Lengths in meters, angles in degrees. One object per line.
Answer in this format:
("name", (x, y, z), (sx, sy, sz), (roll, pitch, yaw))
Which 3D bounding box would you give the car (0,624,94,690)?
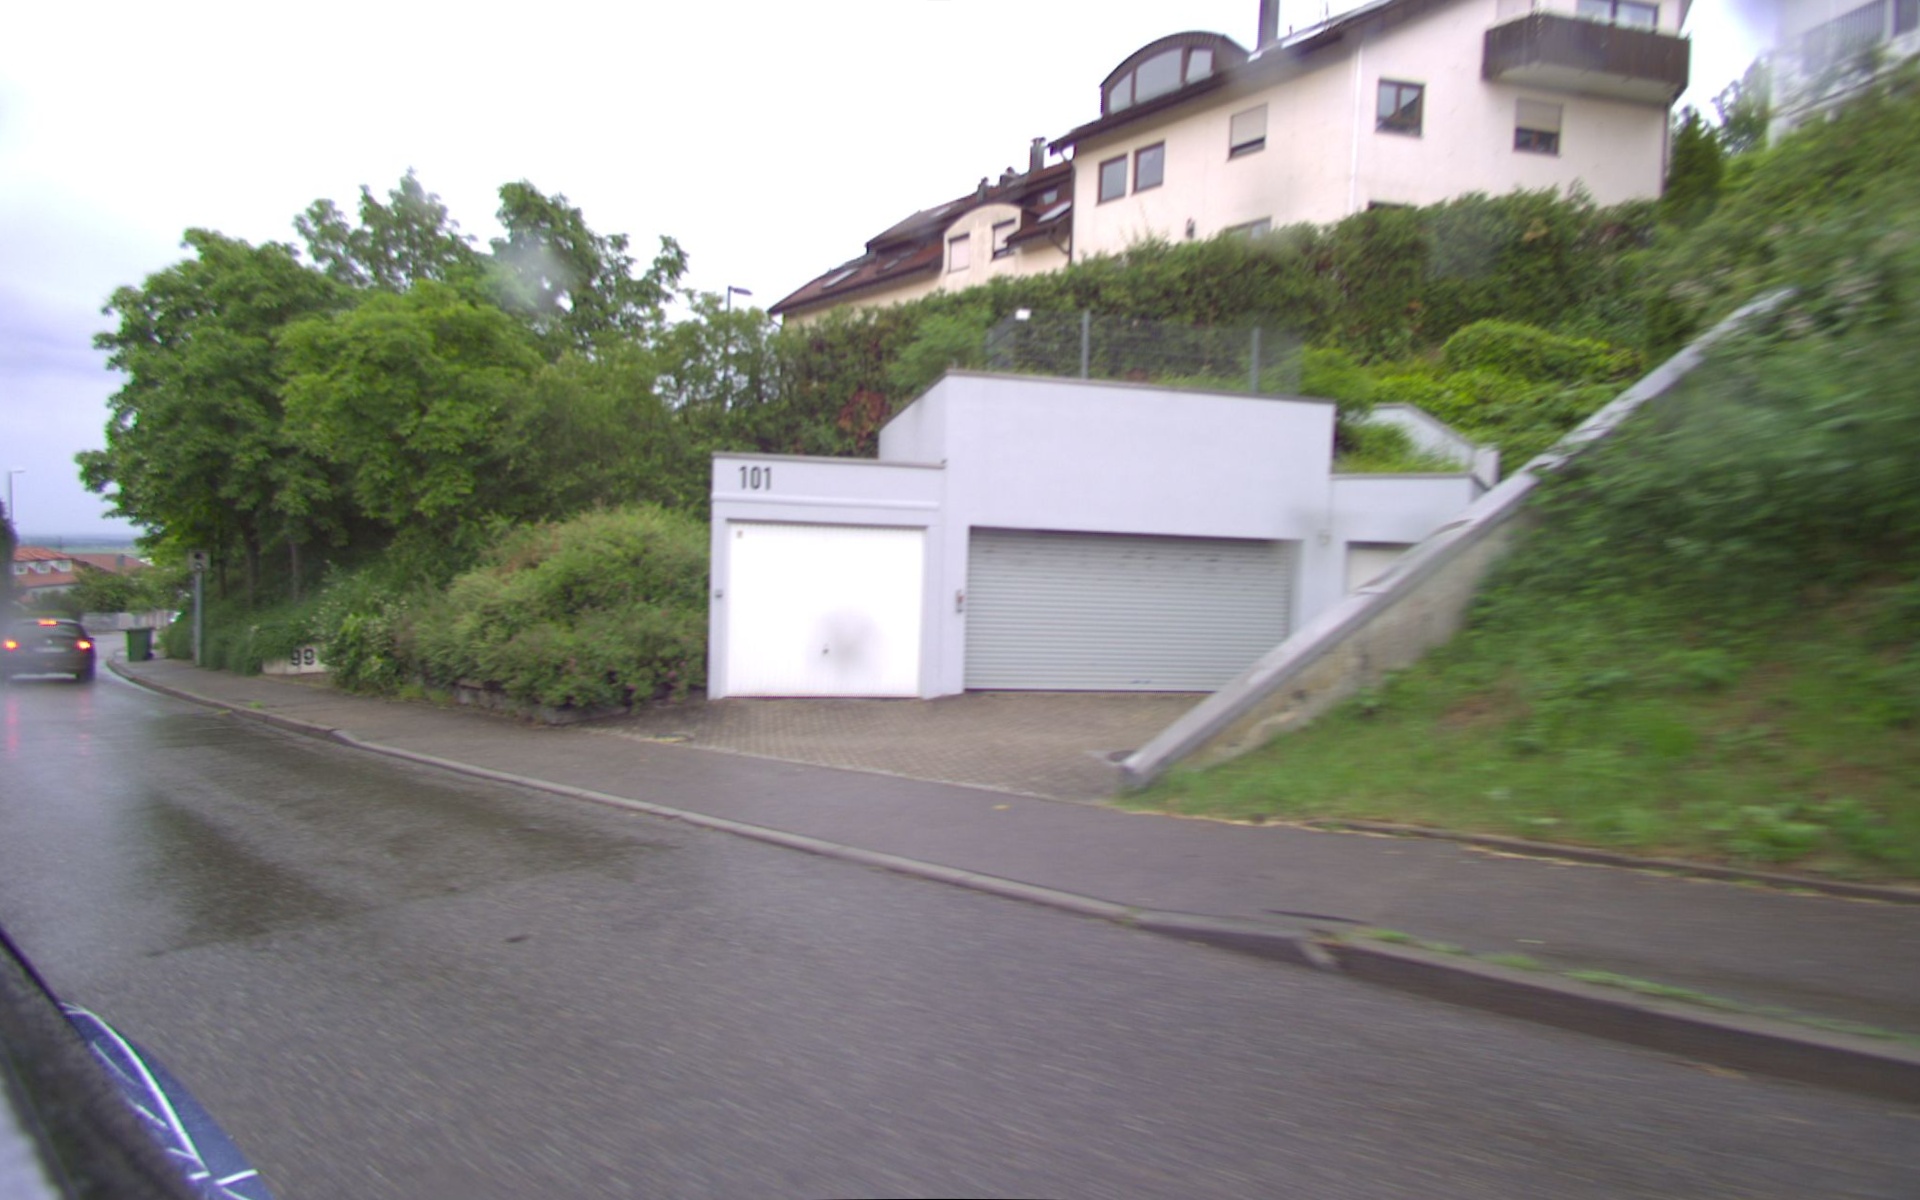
("car", (-21.235, 1.261, 23.302), (3.530, 1.395, 1.632), (-1, -2, 44))

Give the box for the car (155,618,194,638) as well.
("car", (-73.479, 2.611, 94.726), (1.753, 1.817, 4.722), (3, -2, -25))

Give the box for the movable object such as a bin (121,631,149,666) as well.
("movable object such as a bin", (-26.350, 1.542, 32.330), (0.640, 1.112, 0.674), (2, -3, -41))

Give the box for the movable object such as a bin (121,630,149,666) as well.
("movable object such as a bin", (-25.970, 1.516, 31.851), (0.640, 1.124, 0.506), (2, -3, -41))
